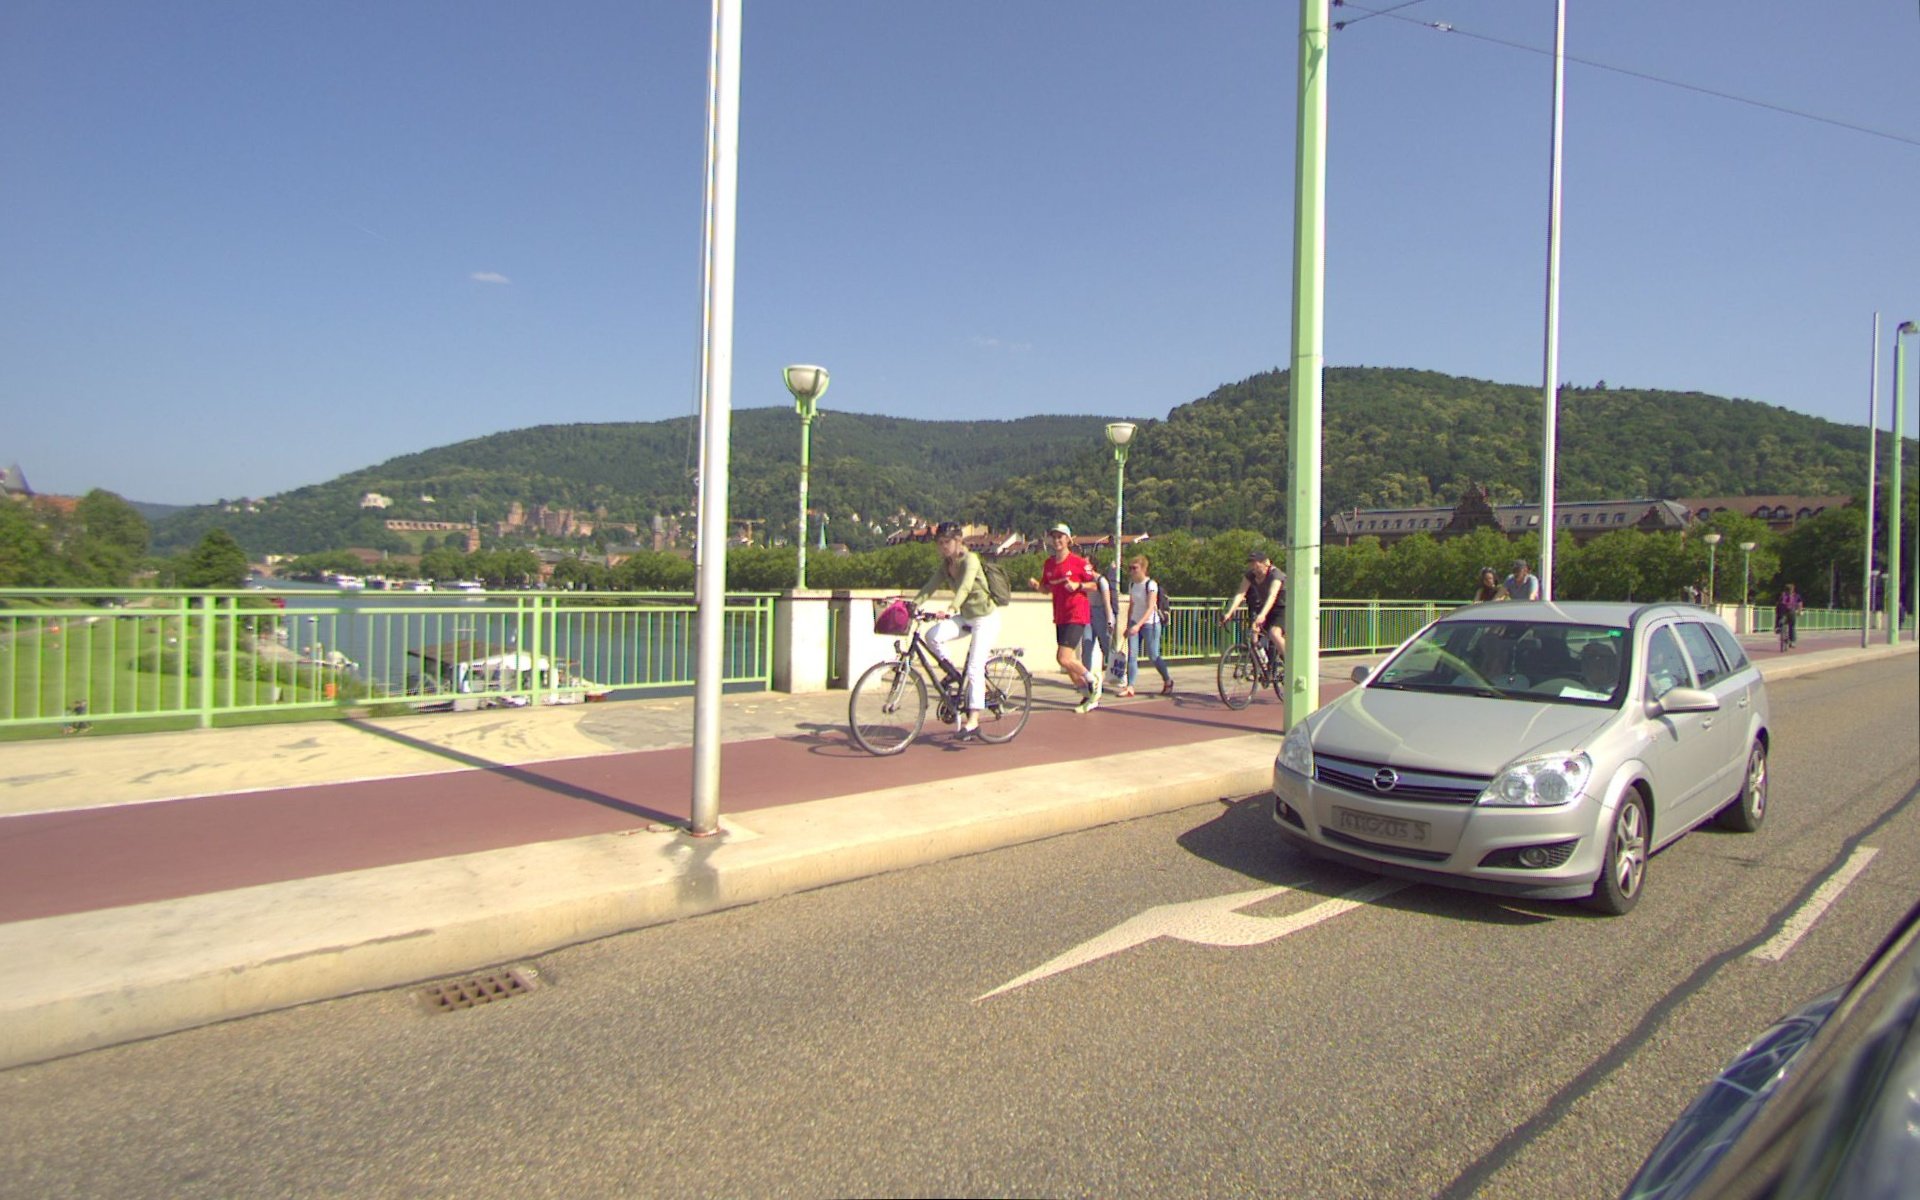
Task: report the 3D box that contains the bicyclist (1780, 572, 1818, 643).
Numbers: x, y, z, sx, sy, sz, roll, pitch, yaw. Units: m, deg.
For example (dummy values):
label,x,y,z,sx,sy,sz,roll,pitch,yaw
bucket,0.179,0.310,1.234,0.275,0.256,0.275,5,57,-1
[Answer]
label,x,y,z,sx,sy,sz,roll,pitch,yaw
bicyclist,21.388,0.184,25.800,0.660,1.791,0.587,1,1,-40

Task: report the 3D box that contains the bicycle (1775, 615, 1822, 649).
label,x,y,z,sx,sy,sz,roll,pitch,yaw
bicycle,21.388,0.804,25.817,1.833,0.775,0.595,0,2,-40

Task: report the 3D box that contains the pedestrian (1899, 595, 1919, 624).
label,x,y,z,sx,sy,sz,roll,pitch,yaw
pedestrian,56.257,0.566,59.791,1.063,1.683,0.949,0,3,-41

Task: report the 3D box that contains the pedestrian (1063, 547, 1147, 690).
label,x,y,z,sx,sy,sz,roll,pitch,yaw
pedestrian,1.772,0.200,12.392,0.733,1.679,0.668,0,2,-41

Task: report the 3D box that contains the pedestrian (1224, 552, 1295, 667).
label,x,y,z,sx,sy,sz,roll,pitch,yaw
pedestrian,4.681,0.129,15.815,0.844,1.727,0.664,0,2,-41

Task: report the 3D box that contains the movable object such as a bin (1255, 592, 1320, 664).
label,x,y,z,sx,sy,sz,roll,pitch,yaw
movable object such as a bin,5.298,0.441,16.358,0.917,1.104,0.583,0,2,-41

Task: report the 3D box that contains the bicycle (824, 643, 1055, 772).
label,x,y,z,sx,sy,sz,roll,pitch,yaw
bicycle,-0.114,0.773,7.772,1.835,0.775,0.594,0,2,-43

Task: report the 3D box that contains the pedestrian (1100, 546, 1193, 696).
label,x,y,z,sx,sy,sz,roll,pitch,yaw
pedestrian,2.174,0.220,11.807,0.810,1.679,0.664,0,2,-41

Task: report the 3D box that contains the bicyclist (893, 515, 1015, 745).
label,x,y,z,sx,sy,sz,roll,pitch,yaw
bicyclist,-0.048,0.206,7.797,0.690,1.671,0.587,0,2,-42

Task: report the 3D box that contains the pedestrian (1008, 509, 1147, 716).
label,x,y,z,sx,sy,sz,roll,pitch,yaw
pedestrian,1.184,0.100,10.180,1.108,1.948,0.812,0,2,-41

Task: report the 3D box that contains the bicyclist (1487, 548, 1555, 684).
label,x,y,z,sx,sy,sz,roll,pitch,yaw
bicyclist,7.825,0.206,14.109,0.690,1.842,0.587,0,2,-42

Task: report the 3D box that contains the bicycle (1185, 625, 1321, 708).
label,x,y,z,sx,sy,sz,roll,pitch,yaw
bicycle,3.262,0.704,11.174,1.800,0.775,0.594,0,2,-43

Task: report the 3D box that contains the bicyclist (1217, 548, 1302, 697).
label,x,y,z,sx,sy,sz,roll,pitch,yaw
bicyclist,3.319,0.229,11.199,0.690,1.578,0.587,0,2,-42

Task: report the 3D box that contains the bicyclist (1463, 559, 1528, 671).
label,x,y,z,sx,sy,sz,roll,pitch,yaw
bicyclist,8.249,0.218,15.589,0.689,1.671,0.606,0,2,-40

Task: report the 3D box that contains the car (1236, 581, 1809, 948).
label,x,y,z,sx,sy,sz,roll,pitch,yaw
car,3.624,0.660,6.146,4.250,1.484,1.708,0,0,-41
